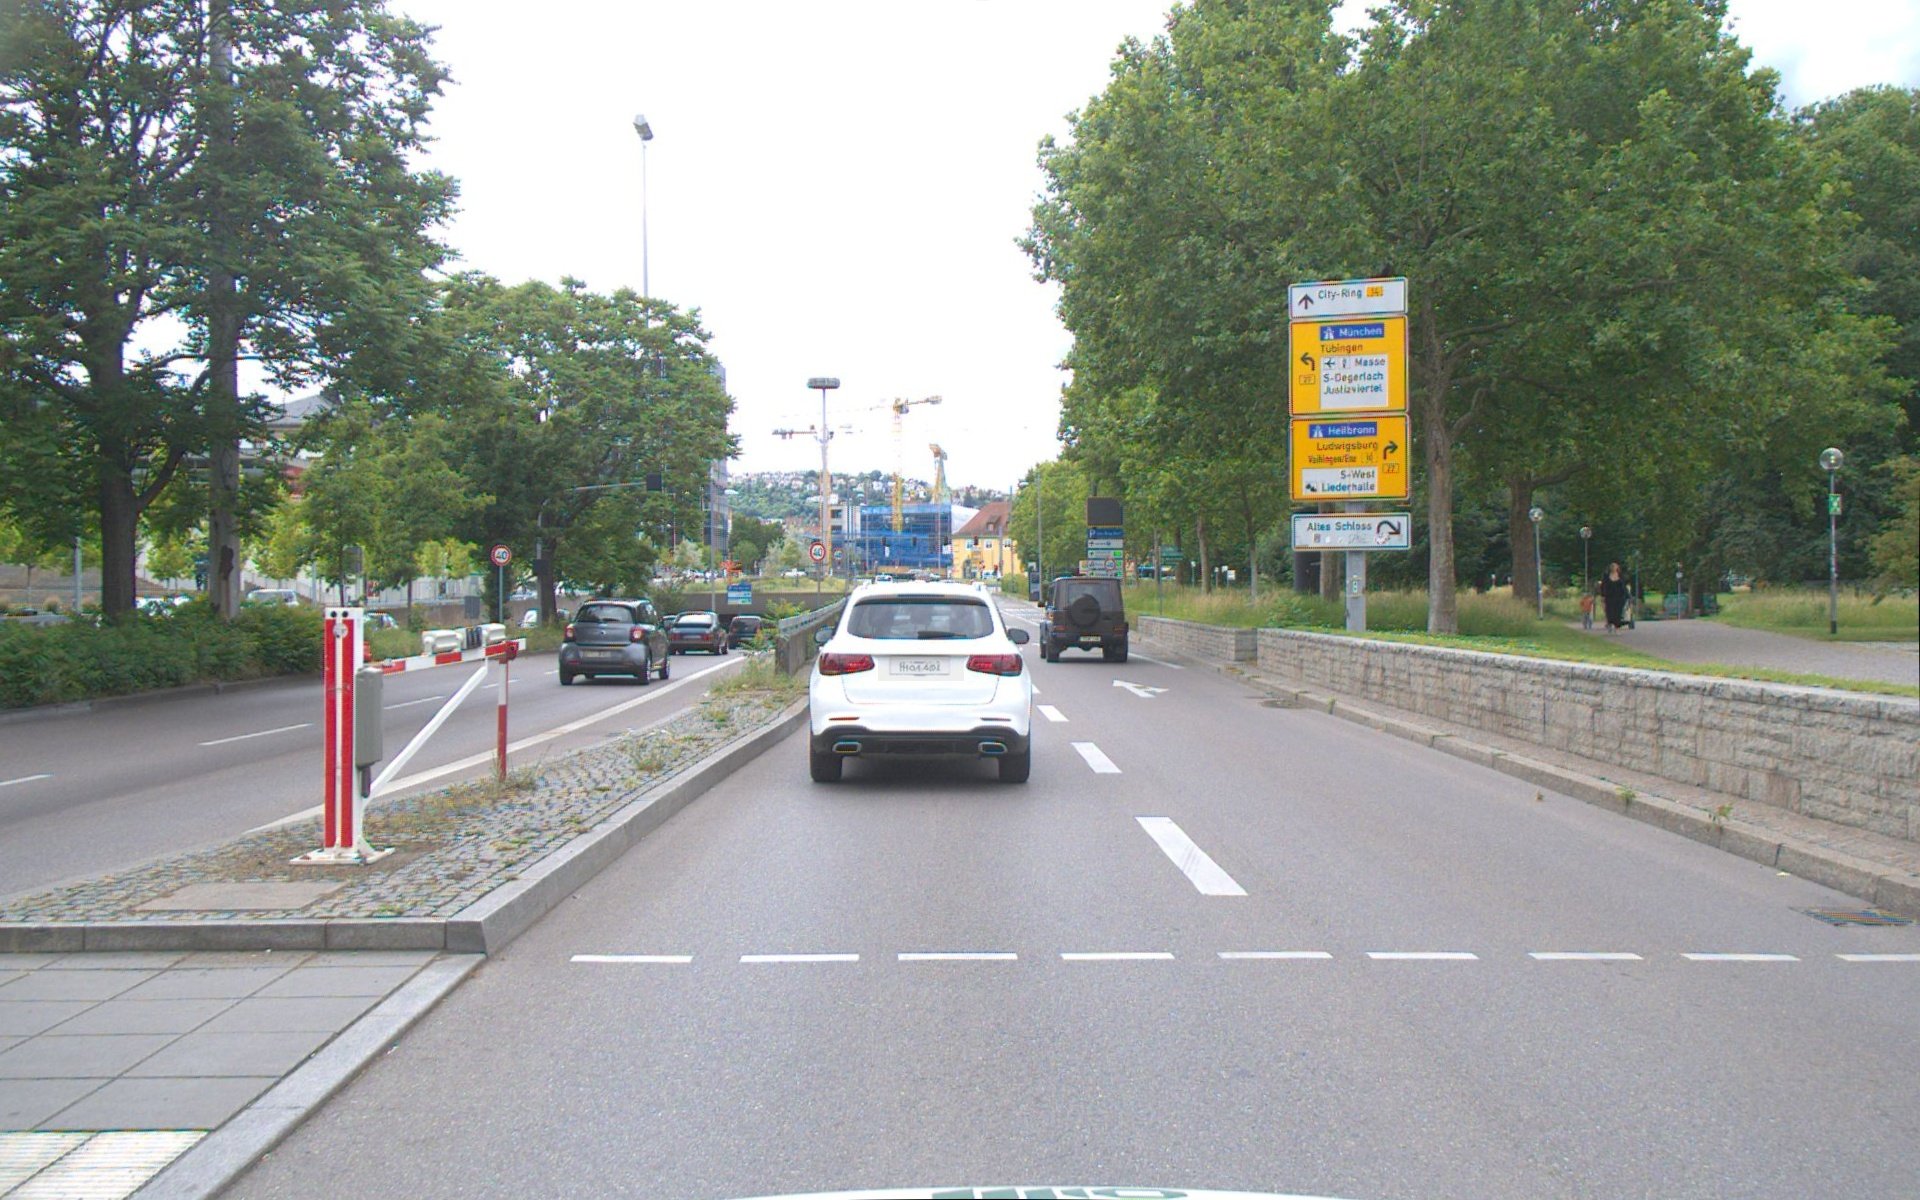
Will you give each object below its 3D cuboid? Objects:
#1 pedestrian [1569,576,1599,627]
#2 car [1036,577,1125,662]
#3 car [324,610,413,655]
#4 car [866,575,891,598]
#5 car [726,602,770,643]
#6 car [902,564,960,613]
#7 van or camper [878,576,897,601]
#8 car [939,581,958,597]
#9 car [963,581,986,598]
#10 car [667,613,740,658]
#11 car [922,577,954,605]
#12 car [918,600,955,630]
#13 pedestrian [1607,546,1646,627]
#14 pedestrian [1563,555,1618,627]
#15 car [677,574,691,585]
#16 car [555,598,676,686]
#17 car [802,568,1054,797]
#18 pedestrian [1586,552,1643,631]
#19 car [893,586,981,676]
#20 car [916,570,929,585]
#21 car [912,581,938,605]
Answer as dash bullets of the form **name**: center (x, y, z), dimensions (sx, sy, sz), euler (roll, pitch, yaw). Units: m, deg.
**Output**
- **pedestrian**: center (16.821, 0.040, 44.584), dimensions (0.570, 1.348, 0.541), euler (2, -2, -2)
- **car**: center (2.875, 0.459, 40.469), dimensions (1.936, 1.926, 4.708), euler (-1, -1, 2)
- **car**: center (-20.884, 1.142, 58.560), dimensions (1.720, 1.487, 3.999), euler (2, -1, -1)
- **car**: center (-6.773, -1.082, 137.502), dimensions (1.953, 1.787, 3.999), euler (2, -1, -1)
- **car**: center (-9.535, 1.003, 74.705), dimensions (1.685, 1.708, 3.997), euler (2, 0, -4)
- **car**: center (-1.044, -0.399, 57.770), dimensions (1.884, 1.630, 3.998), euler (1, 0, -3)
- **van or camper**: center (-7.511, -1.170, 170.449), dimensions (1.884, 2.360, 3.997), euler (1, -2, -3)
- **car**: center (-1.238, -1.178, 175.580), dimensions (1.685, 1.612, 3.997), euler (2, 0, -4)
- **car**: center (1.561, -1.124, 178.481), dimensions (1.956, 1.646, 3.993), euler (2, -1, -7)
- **car**: center (-8.328, 1.137, 54.016), dimensions (1.684, 1.315, 4.000), euler (2, 0, 1)
- **car**: center (-1.498, -0.581, 109.992), dimensions (1.954, 1.691, 3.997), euler (2, -1, -3)
- **car**: center (-1.345, 0.823, 92.953), dimensions (1.884, 1.630, 3.998), euler (1, 0, -3)
- **pedestrian**: center (17.231, -0.346, 42.751), dimensions (0.559, 2.049, 0.932), euler (2, -1, -2)
- **pedestrian**: center (16.952, -0.241, 44.471), dimensions (0.978, 1.868, 1.028), euler (2, -1, -8)
- **car**: center (-39.395, -2.897, 235.974), dimensions (1.798, 1.384, 3.861), euler (2, -1, -8)
- **car**: center (-6.420, 0.766, 31.105), dimensions (1.594, 1.535, 3.538), euler (1, -1, -2)
- **car**: center (-0.356, 0.664, 14.825), dimensions (1.902, 1.713, 3.997), euler (2, -1, -3)
- **pedestrian**: center (15.079, -0.189, 38.130), dimensions (0.878, 1.763, 0.968), euler (2, 0, -2)
- **car**: center (-0.506, 0.621, 33.564), dimensions (1.639, 1.656, 3.998), euler (2, -1, -2)
- **car**: center (-5.546, -3.364, 243.521), dimensions (1.764, 2.049, 3.997), euler (2, -1, -3)
- **car**: center (-2.942, -0.574, 138.883), dimensions (1.954, 1.812, 3.997), euler (2, -1, -3)
